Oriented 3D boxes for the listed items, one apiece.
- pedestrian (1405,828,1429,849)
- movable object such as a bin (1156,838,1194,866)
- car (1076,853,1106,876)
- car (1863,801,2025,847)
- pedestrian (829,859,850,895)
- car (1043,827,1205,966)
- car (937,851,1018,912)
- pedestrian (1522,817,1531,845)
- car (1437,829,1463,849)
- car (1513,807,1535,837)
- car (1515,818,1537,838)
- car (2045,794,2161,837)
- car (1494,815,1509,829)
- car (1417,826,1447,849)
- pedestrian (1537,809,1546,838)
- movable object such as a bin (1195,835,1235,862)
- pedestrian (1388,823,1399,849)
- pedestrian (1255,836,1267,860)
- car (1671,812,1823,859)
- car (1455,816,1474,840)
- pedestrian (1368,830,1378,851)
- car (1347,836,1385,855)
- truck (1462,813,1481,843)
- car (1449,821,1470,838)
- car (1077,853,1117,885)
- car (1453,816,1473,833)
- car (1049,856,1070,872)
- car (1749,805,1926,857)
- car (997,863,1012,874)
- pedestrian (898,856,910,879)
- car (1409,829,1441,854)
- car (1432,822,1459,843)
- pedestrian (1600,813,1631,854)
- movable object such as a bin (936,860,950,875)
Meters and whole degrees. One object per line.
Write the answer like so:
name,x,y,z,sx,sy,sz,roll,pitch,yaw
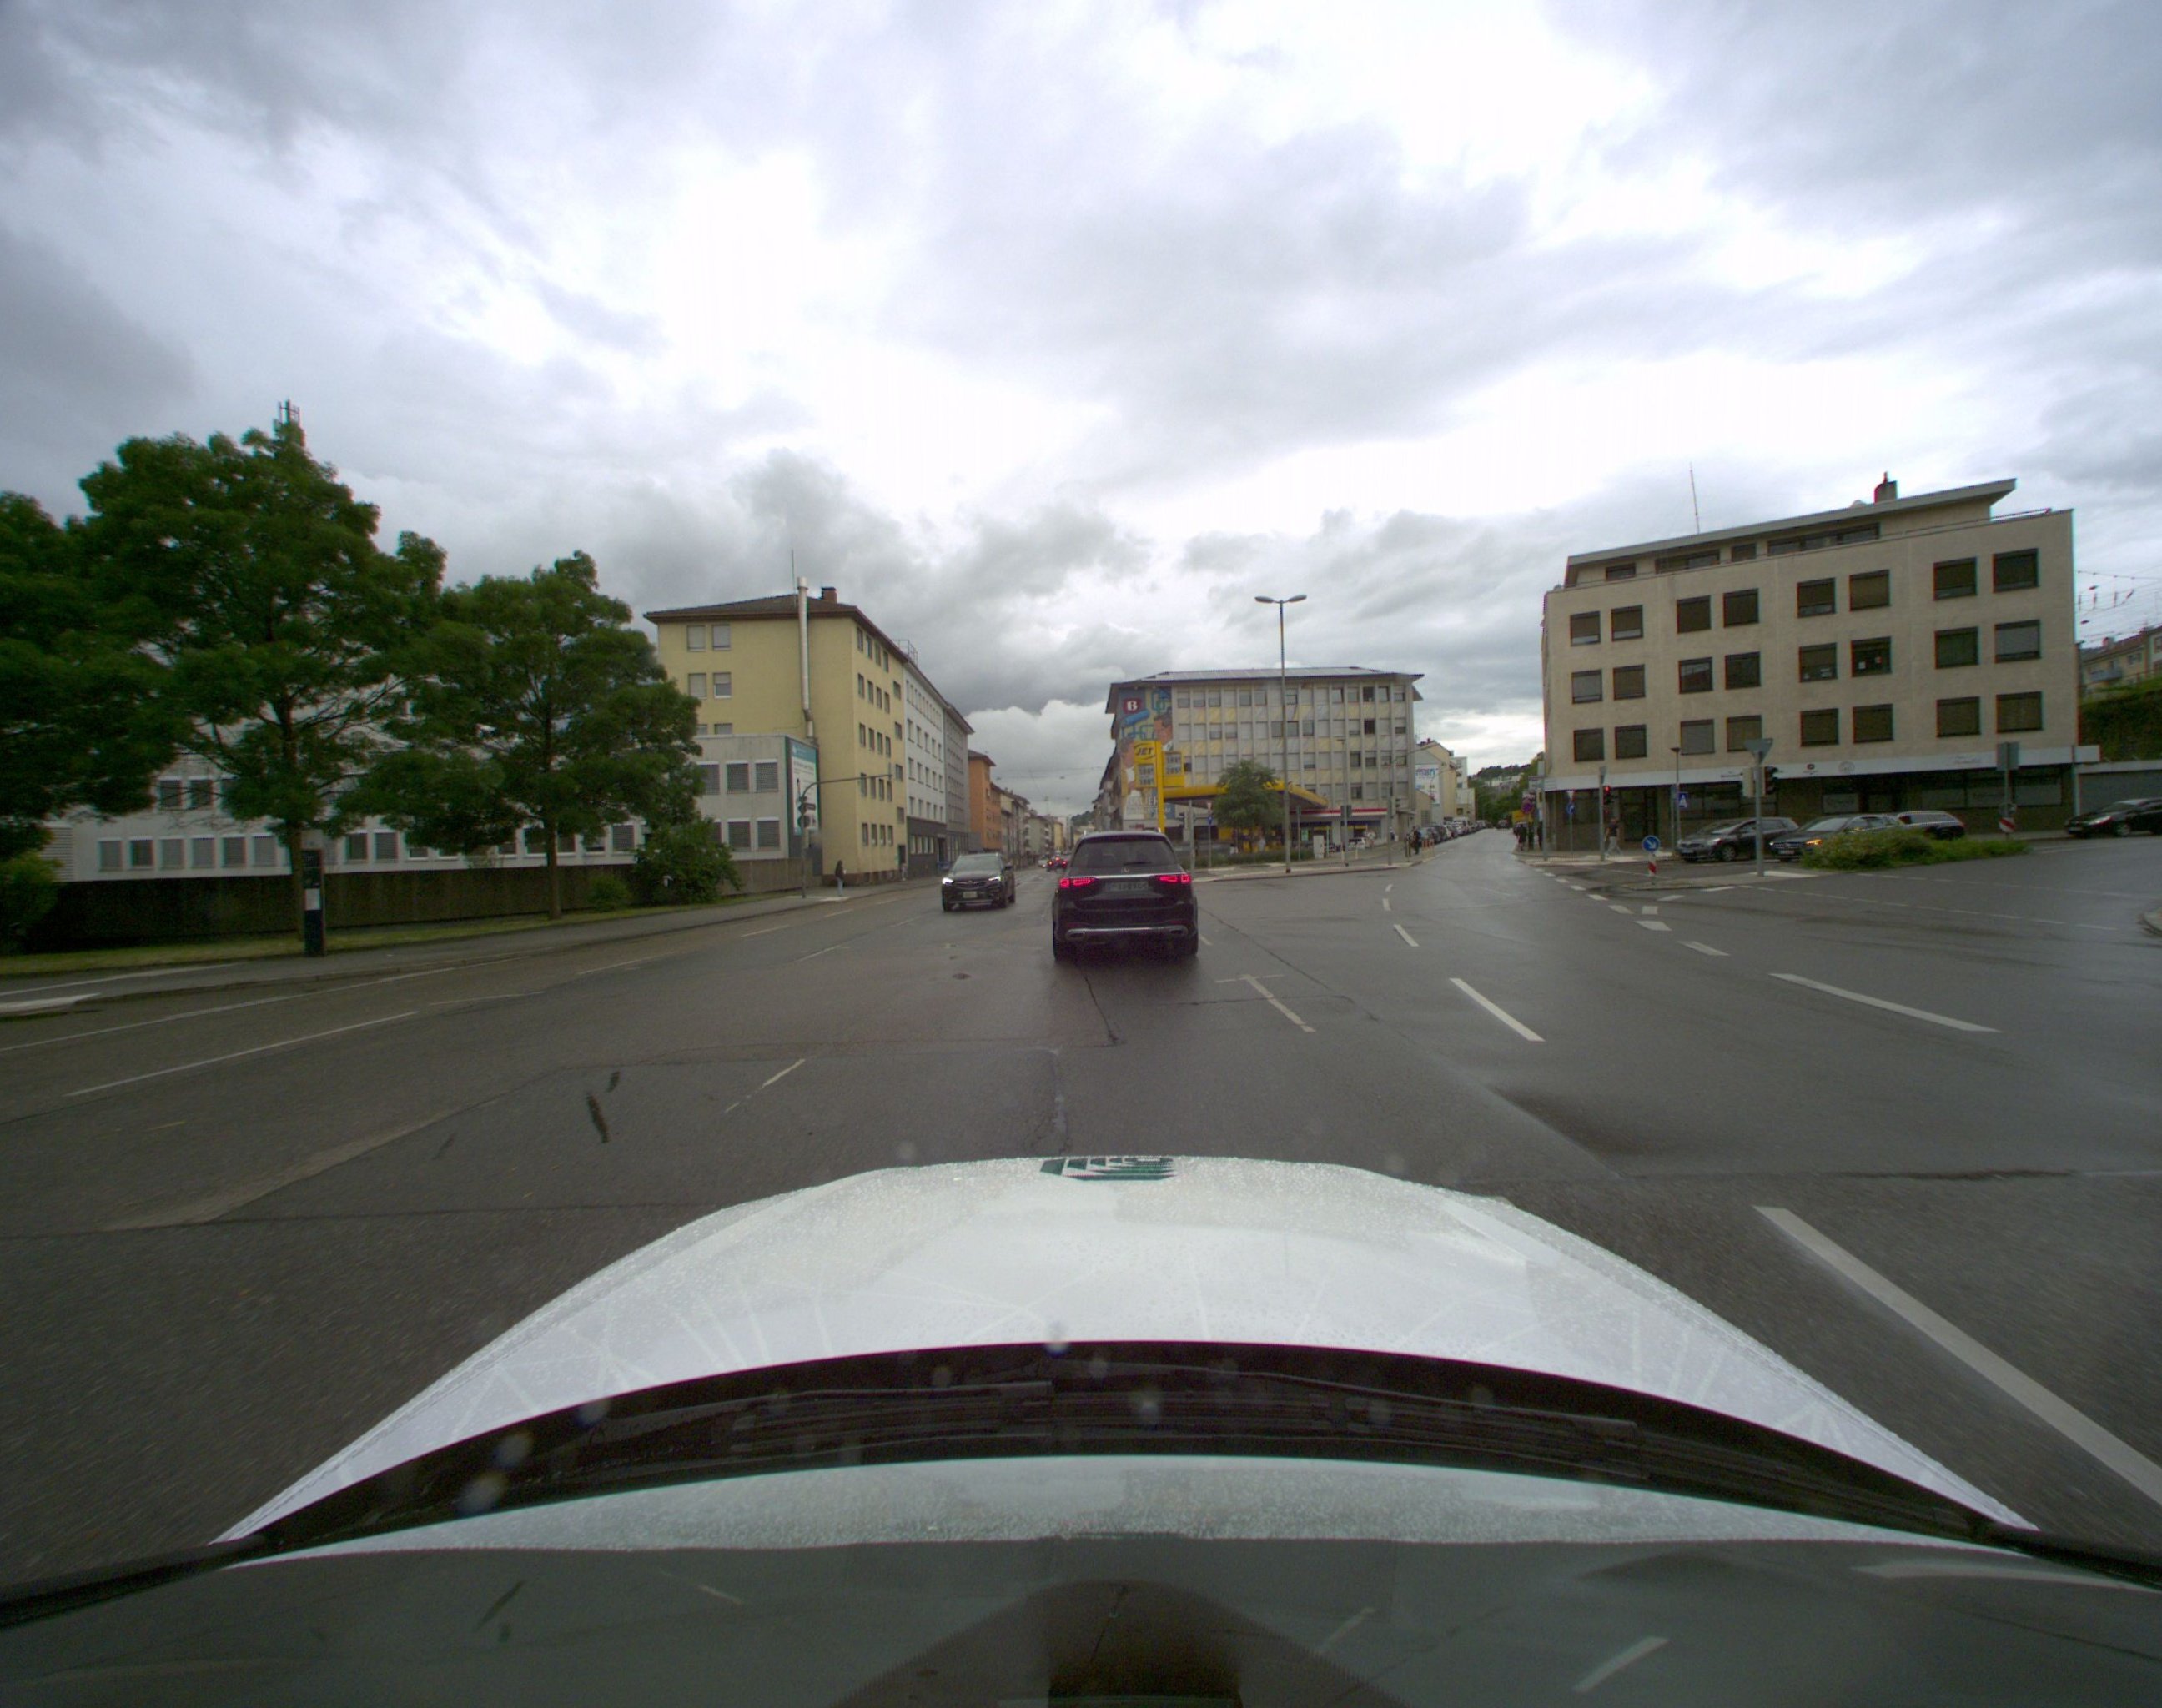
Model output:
pedestrian,21.666,-0.983,52.530,0.922,1.353,1.100,0,-1,-41
movable object such as a bin,5.905,-0.121,51.240,2.149,1.574,1.773,-3,0,0
car,0.712,0.748,60.232,2.070,1.650,4.293,0,0,-1
car,33.790,-1.148,31.949,4.463,1.444,1.997,-4,0,-5
pedestrian,-11.343,1.085,38.290,0.714,1.689,0.811,0,-1,1
car,0.538,0.548,12.766,2.070,1.765,4.609,0,0,-1
car,-3.009,0.754,24.534,1.802,1.594,4.295,-2,0,0
pedestrian,27.268,-1.402,49.870,0.473,1.742,0.578,-1,-1,29
car,36.835,-1.442,81.239,1.975,1.865,4.608,-1,0,28
car,56.813,-4.056,104.320,2.354,3.688,5.025,-1,0,29
car,50.172,-2.908,91.782,1.974,2.014,4.025,-1,0,30
car,41.375,-1.498,32.085,3.957,1.585,2.008,-1,0,15
car,65.800,-4.949,127.396,1.974,2.014,4.025,-1,0,30
car,30.332,-1.411,70.316,1.975,1.865,4.608,-1,0,28
pedestrian,27.990,-1.828,49.521,0.473,1.742,0.578,-1,-1,29
movable object such as a bin,8.434,-0.316,51.238,2.149,1.555,1.773,-4,0,0
pedestrian,21.586,-1.210,56.231,0.671,1.758,0.736,-1,-1,22
pedestrian,11.819,-0.372,53.530,0.662,1.585,0.847,0,-1,2
car,25.238,-0.690,30.913,4.470,1.444,1.993,-4,0,-10
car,50.044,-3.375,106.281,1.975,2.973,4.608,-1,0,28
pedestrian,21.270,-0.987,59.357,0.578,1.515,0.474,0,-1,-41
car,25.948,-0.734,74.118,1.974,1.516,4.446,-4,-2,36
truck,54.023,-3.497,112.608,1.975,3.914,5.518,-1,0,28
car,43.908,-2.789,94.449,1.975,1.865,4.608,-1,0,28
car,0.831,0.794,45.024,2.070,1.650,4.293,0,0,-1
car,46.628,-3.578,99.461,1.975,1.865,4.608,-1,0,28
car,-2.169,1.007,83.779,2.070,1.650,4.293,0,0,-1
car,26.254,-0.778,28.358,4.462,1.444,1.997,-4,0,-4
car,-11.308,2.137,120.728,1.886,1.458,4.545,0,0,-2
pedestrian,-13.031,0.995,59.890,0.714,1.689,0.811,0,-1,1
car,27.813,-0.975,65.729,1.975,1.865,4.608,-1,0,28
car,34.019,-1.962,75.924,1.975,1.865,4.608,-1,0,28
pedestrian,23.771,-0.892,36.222,0.854,1.791,0.773,0,-1,-5
movable object such as a bin,-12.550,1.228,74.296,1.073,1.324,1.190,0,0,-1
